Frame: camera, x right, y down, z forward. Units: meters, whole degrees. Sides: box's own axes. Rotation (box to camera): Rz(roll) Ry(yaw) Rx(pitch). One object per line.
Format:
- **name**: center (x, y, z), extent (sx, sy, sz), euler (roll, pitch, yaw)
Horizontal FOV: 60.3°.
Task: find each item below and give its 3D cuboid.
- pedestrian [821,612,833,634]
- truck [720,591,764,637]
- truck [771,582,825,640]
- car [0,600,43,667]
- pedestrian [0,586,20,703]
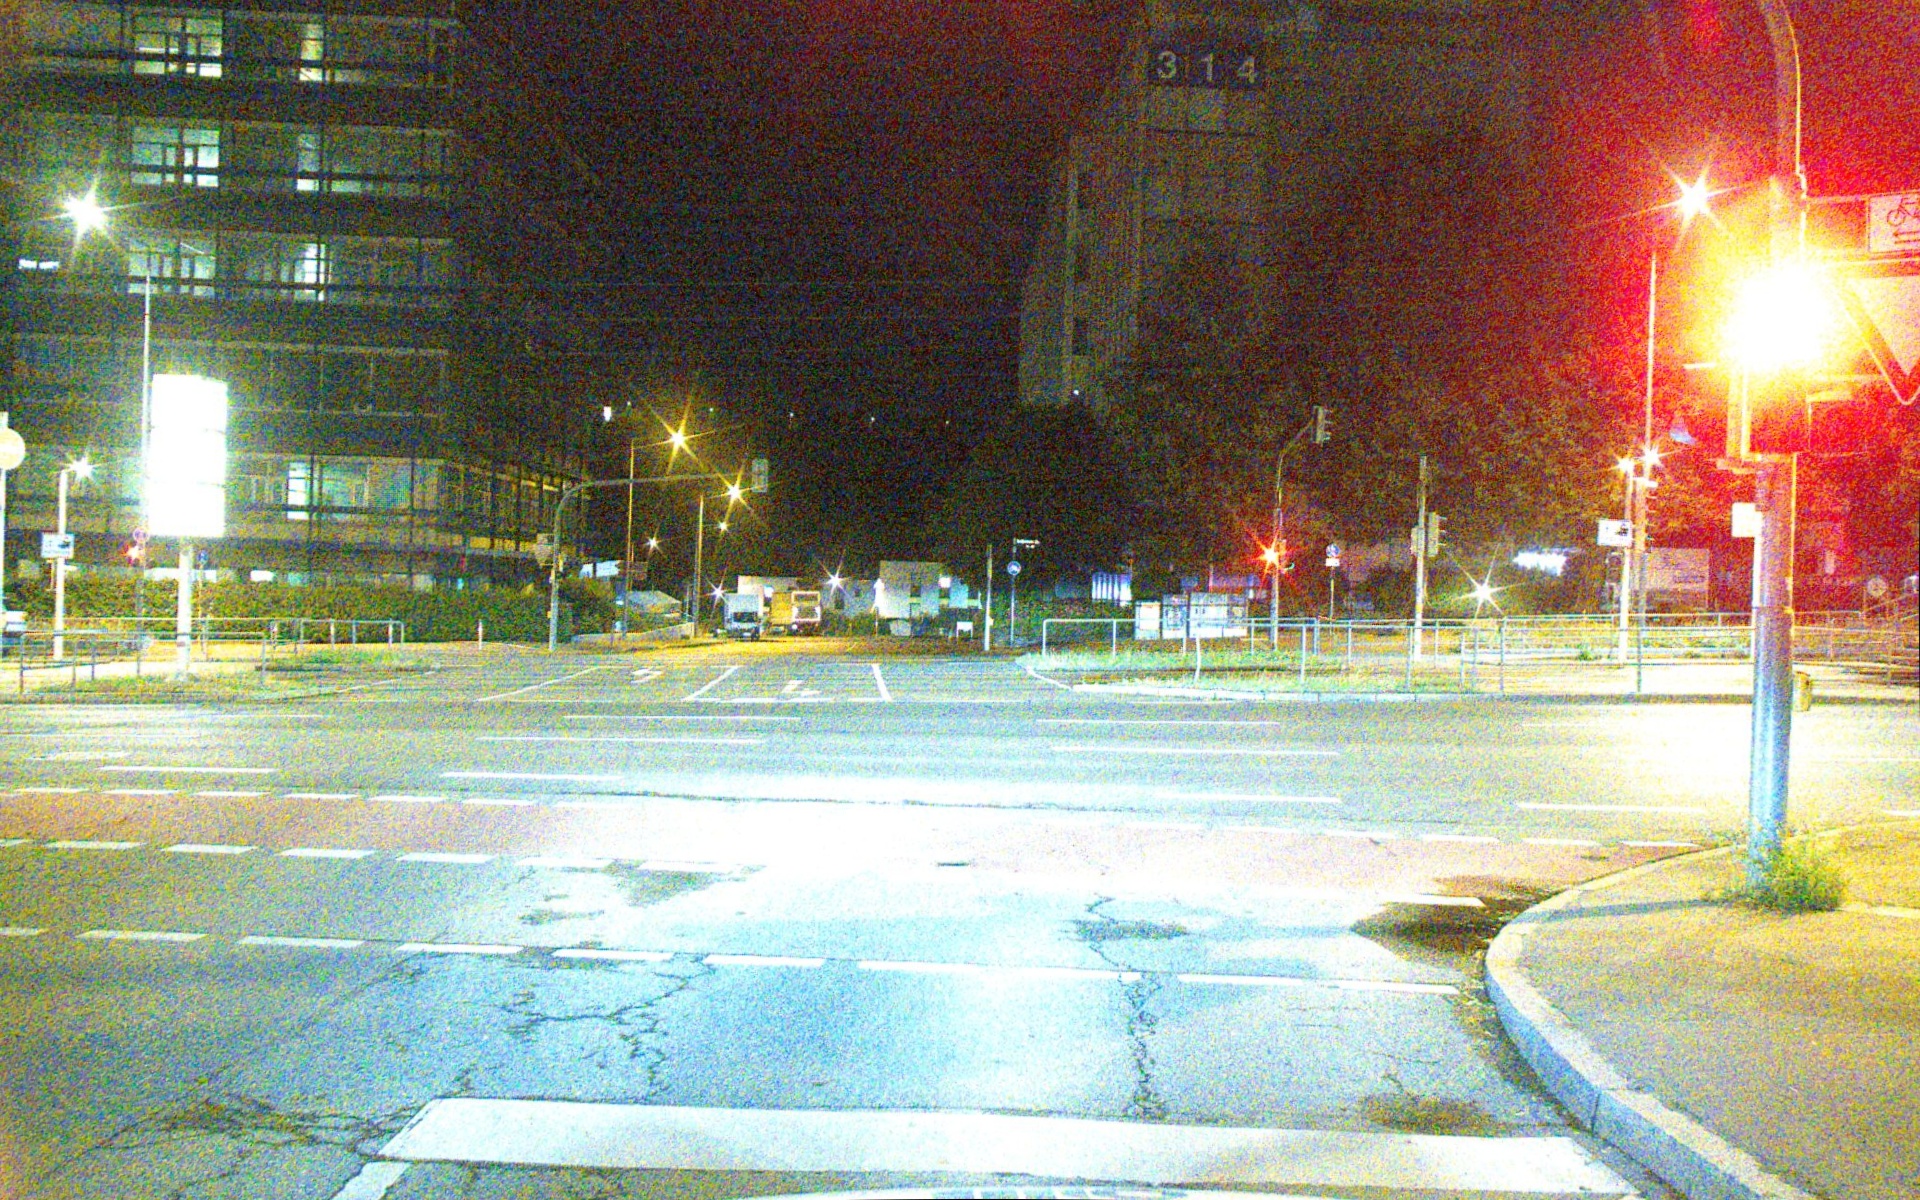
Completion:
- **pedestrian**: center (-11.838, 2.024, 147.201), extent (0.836, 1.945, 1.001), euler (2, -1, -18)
- **truck**: center (-15.786, 1.017, 119.460), extent (2.377, 3.143, 6.414), euler (2, -1, -14)
- **truck**: center (-14.620, 1.014, 148.609), extent (3.307, 4.927, 7.868), euler (2, -1, -17)
- **car**: center (-25.932, 0.788, 41.867), extent (4.306, 1.672, 1.942), euler (1, -1, 2)
- **pedestrian**: center (-14.770, 0.665, 24.953), extent (0.663, 1.752, 0.706), euler (1, -1, 22)
